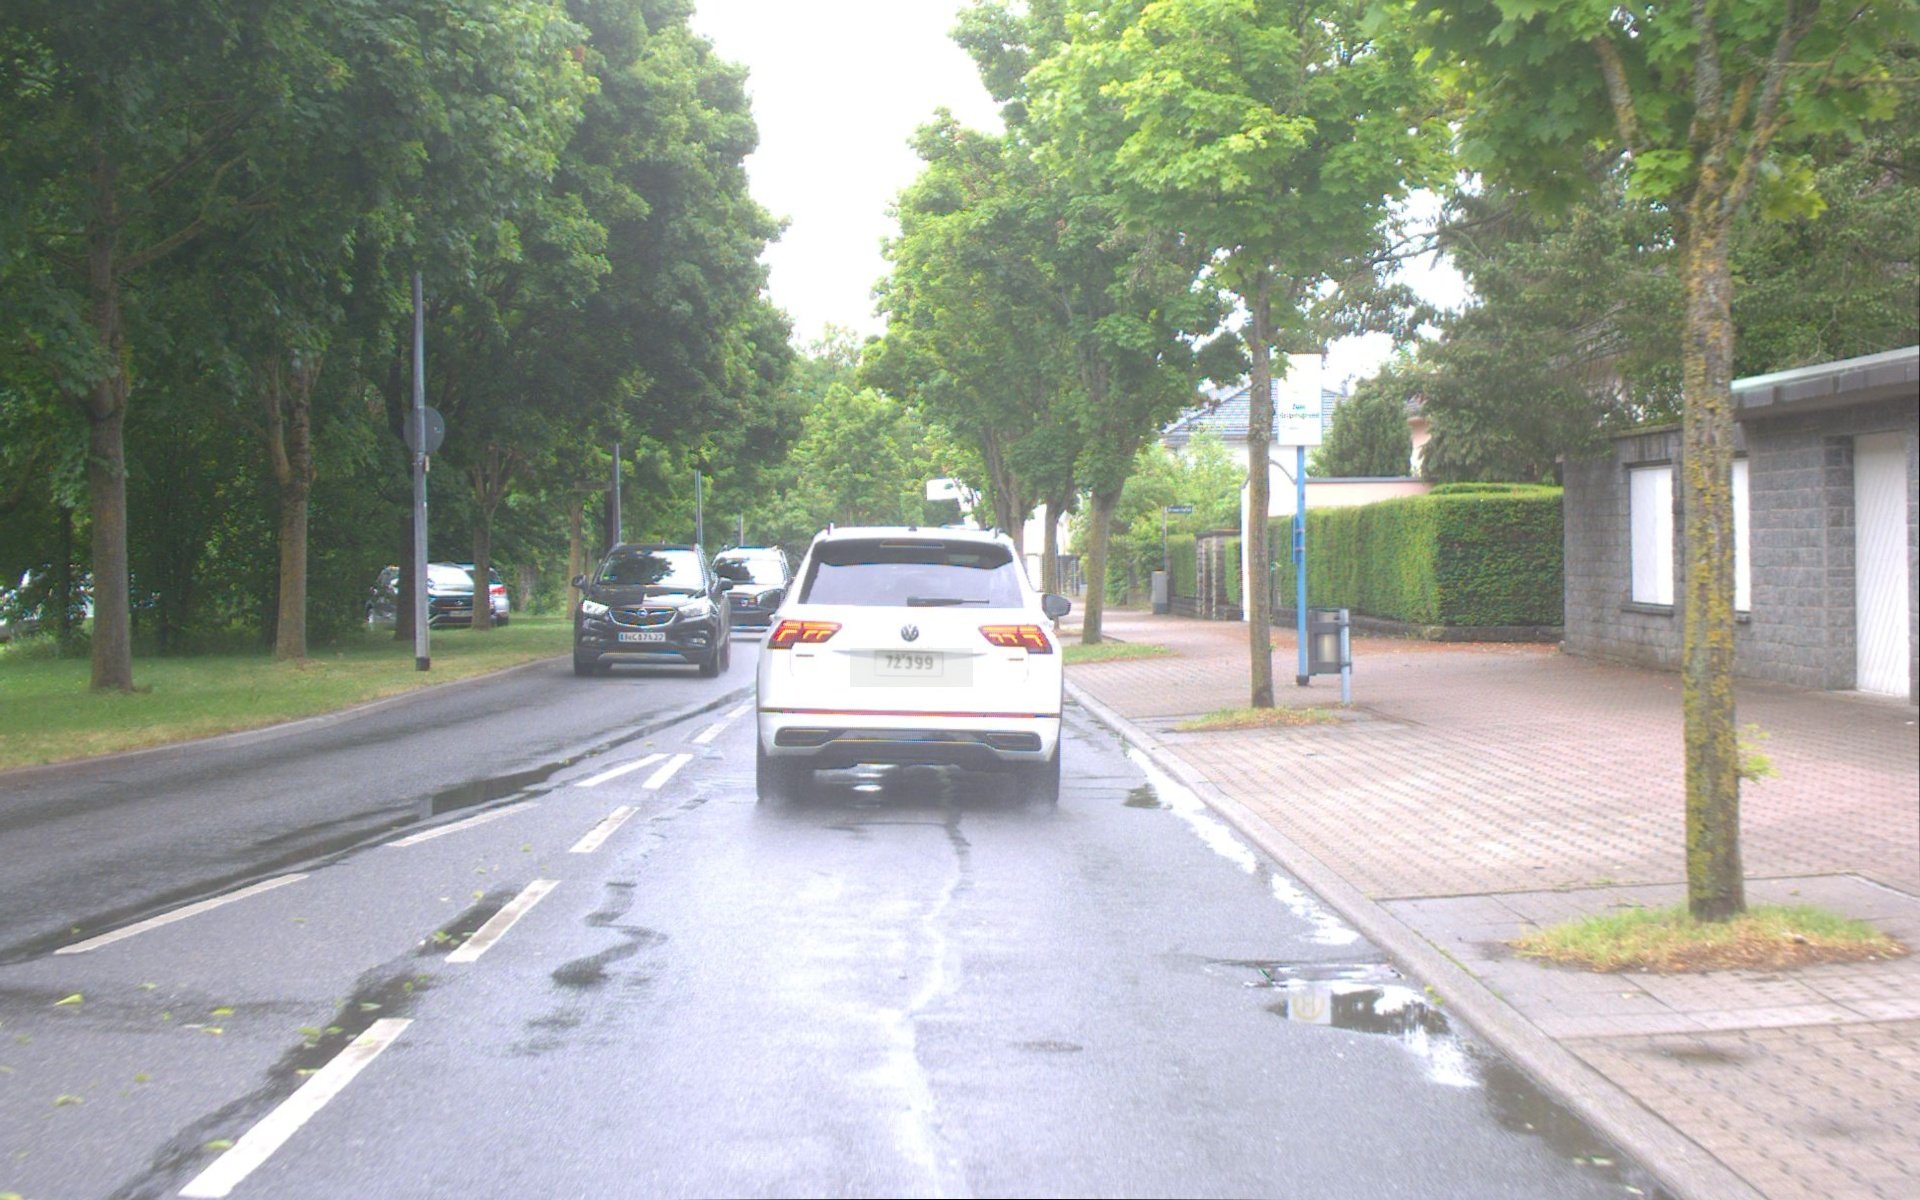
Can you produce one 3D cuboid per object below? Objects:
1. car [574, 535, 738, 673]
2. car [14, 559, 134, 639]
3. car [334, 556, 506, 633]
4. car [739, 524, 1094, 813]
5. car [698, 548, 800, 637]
[{"bbox_3d":[-3.799,0.025,43.517,1.814,1.642,4.000,1,1,-2],"label":"car"},{"bbox_3d":[-17.231,-0.039,66.762,1.841,1.477,4.001,-1,1,-20],"label":"car"},{"bbox_3d":[-10.931,-0.125,69.417,1.841,1.477,3.999,-1,1,-35],"label":"car"},{"bbox_3d":[-0.350,0.351,21.461,1.996,1.626,4.001,0,1,-3],"label":"car"},{"bbox_3d":[-4.026,-0.170,66.191,1.756,1.642,4.000,1,1,-1],"label":"car"}]
